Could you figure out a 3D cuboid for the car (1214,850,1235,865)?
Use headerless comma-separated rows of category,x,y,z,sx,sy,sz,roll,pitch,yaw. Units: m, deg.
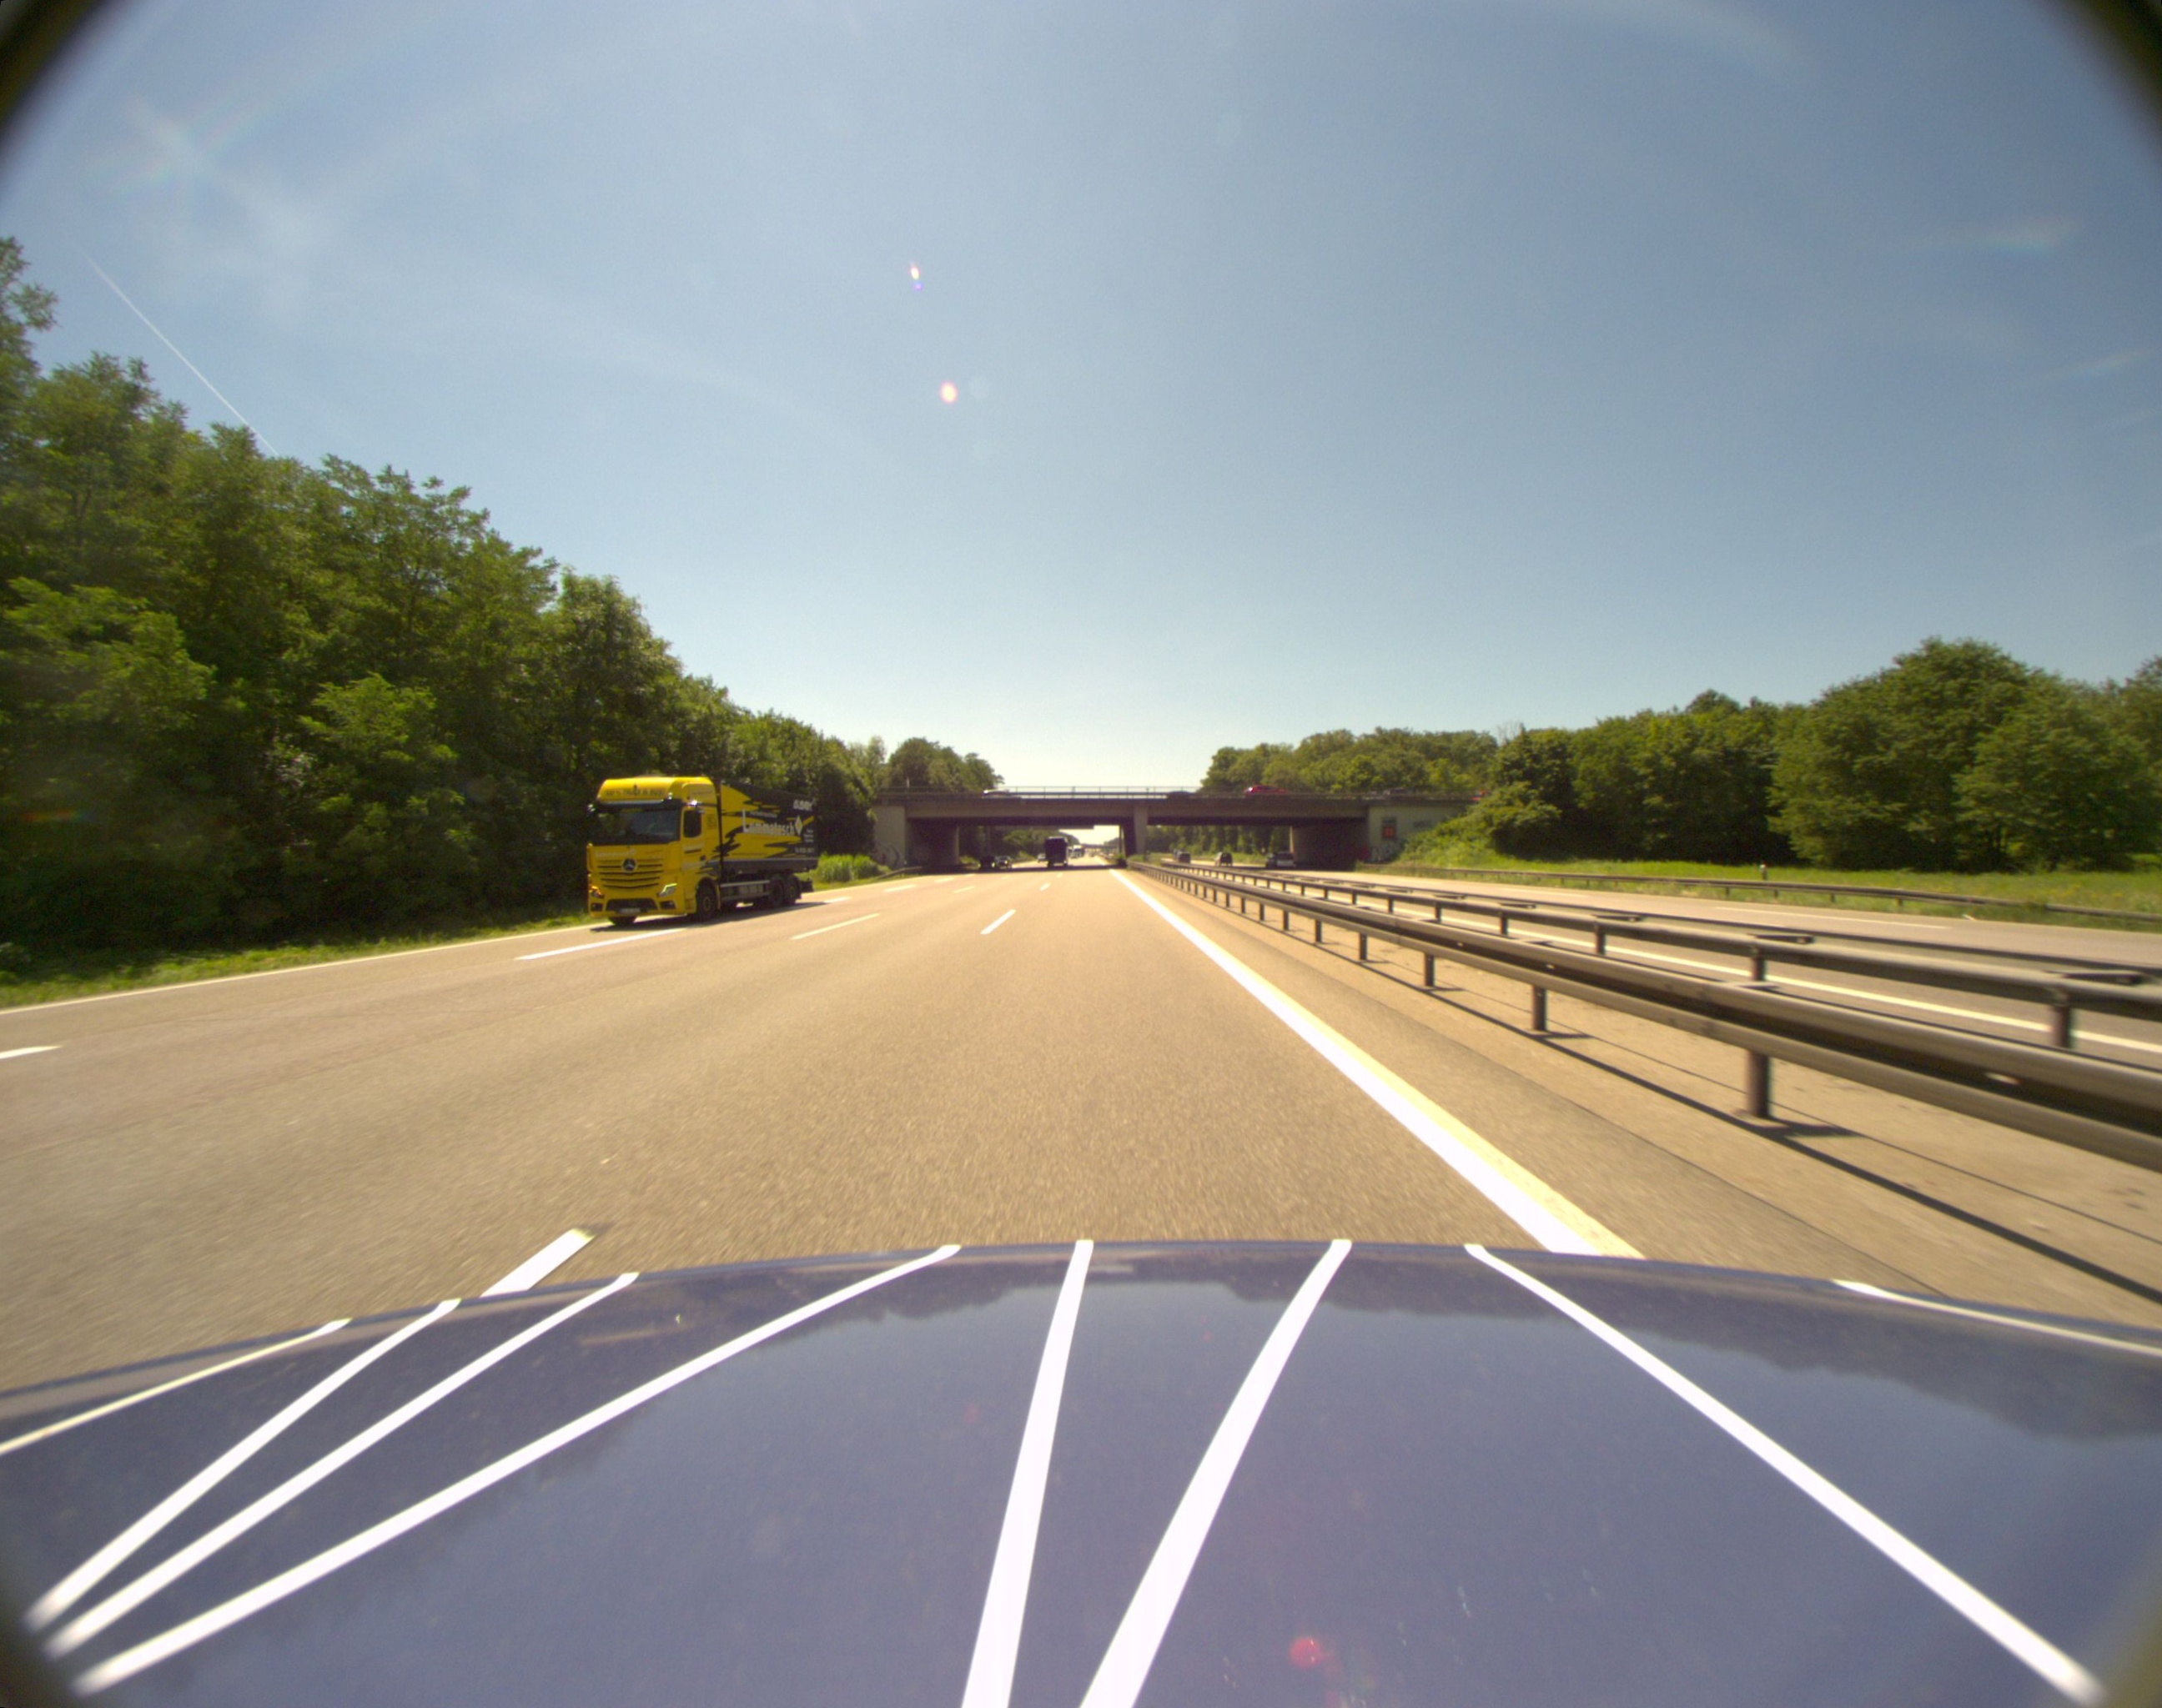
car,18.292,0.424,97.012,1.744,1.795,4.934,0,1,1

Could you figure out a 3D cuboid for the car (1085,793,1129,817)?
car,2.489,-4.664,72.336,3.998,2.002,1.999,-2,1,-2

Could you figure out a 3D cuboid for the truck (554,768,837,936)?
truck,-11.304,-0.103,24.288,2.982,4.013,10.981,-3,1,1

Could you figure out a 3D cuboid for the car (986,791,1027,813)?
car,-7.703,-5.402,78.991,3.998,2.002,1.999,-2,1,-2

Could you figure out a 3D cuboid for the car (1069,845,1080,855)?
car,-1.595,-1.057,198.596,2.616,2.389,7.122,-2,1,1

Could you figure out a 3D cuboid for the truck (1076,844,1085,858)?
truck,-0.111,-1.130,262.774,2.616,4.638,10.960,-2,1,1

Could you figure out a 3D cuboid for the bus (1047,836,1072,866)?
bus,-2.638,-0.466,98.603,2.617,3.532,13.681,-2,1,1

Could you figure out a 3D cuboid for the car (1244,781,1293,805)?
car,17.898,-5.860,72.689,4.156,2.002,1.999,-2,1,-2

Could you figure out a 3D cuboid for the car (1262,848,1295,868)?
car,18.430,0.354,71.130,1.745,1.753,5.085,0,1,-1

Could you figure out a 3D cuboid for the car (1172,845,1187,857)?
car,20.038,-0.593,154.494,2.094,2.385,5.733,-2,1,0

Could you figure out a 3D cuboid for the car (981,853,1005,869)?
car,-9.228,0.705,80.024,1.875,1.547,4.201,-2,1,1

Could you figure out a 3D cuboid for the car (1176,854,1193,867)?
car,14.402,0.854,105.609,1.744,1.709,4.639,0,1,1

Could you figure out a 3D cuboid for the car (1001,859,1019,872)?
car,-8.732,1.410,93.684,1.674,1.439,4.573,-2,1,1
